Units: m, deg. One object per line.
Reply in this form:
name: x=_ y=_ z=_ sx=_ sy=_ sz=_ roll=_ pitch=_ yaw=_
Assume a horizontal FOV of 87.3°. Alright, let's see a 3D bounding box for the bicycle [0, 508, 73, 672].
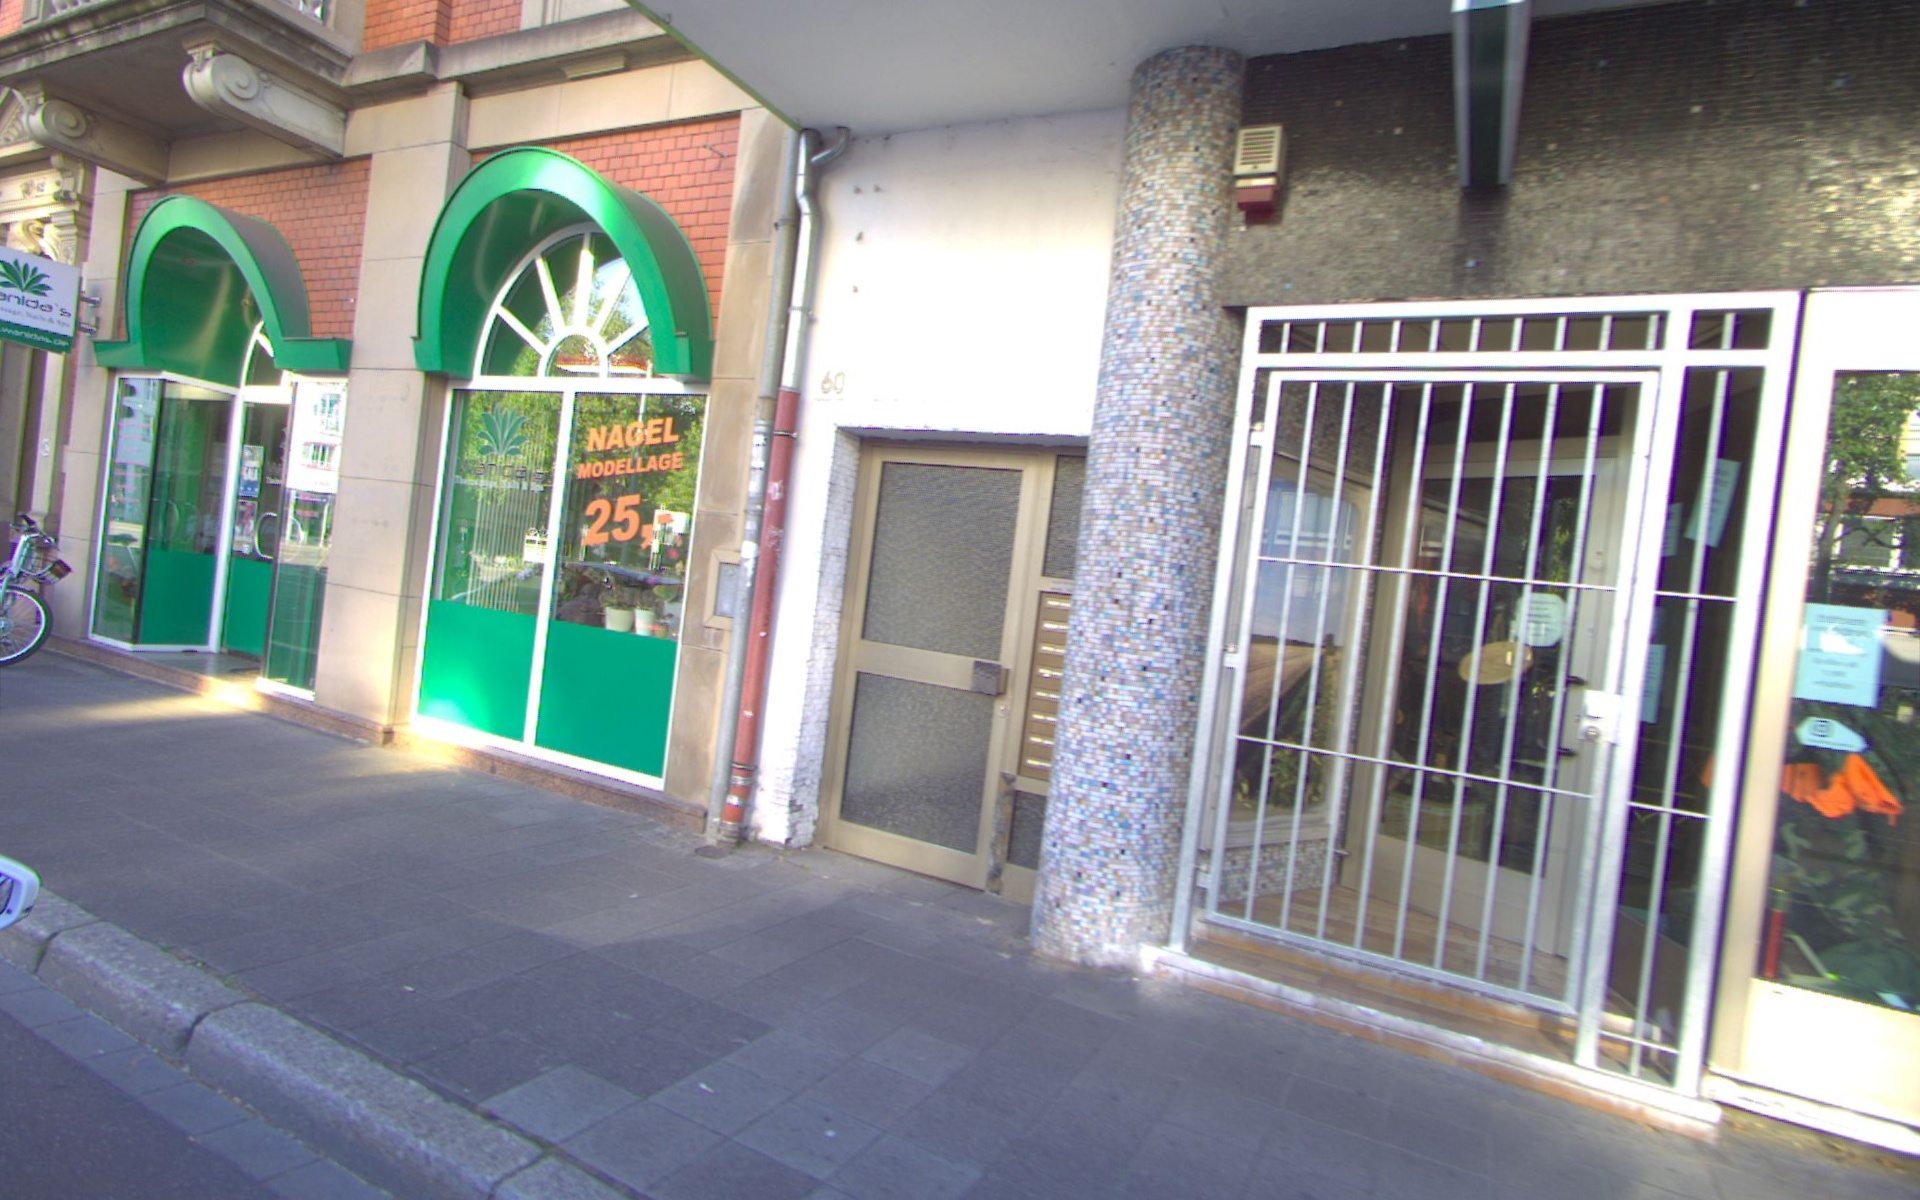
bicycle: x=-7.623 y=-0.127 z=8.030 sx=0.713 sy=1.167 sz=1.634 roll=4 pitch=3 yaw=-43
